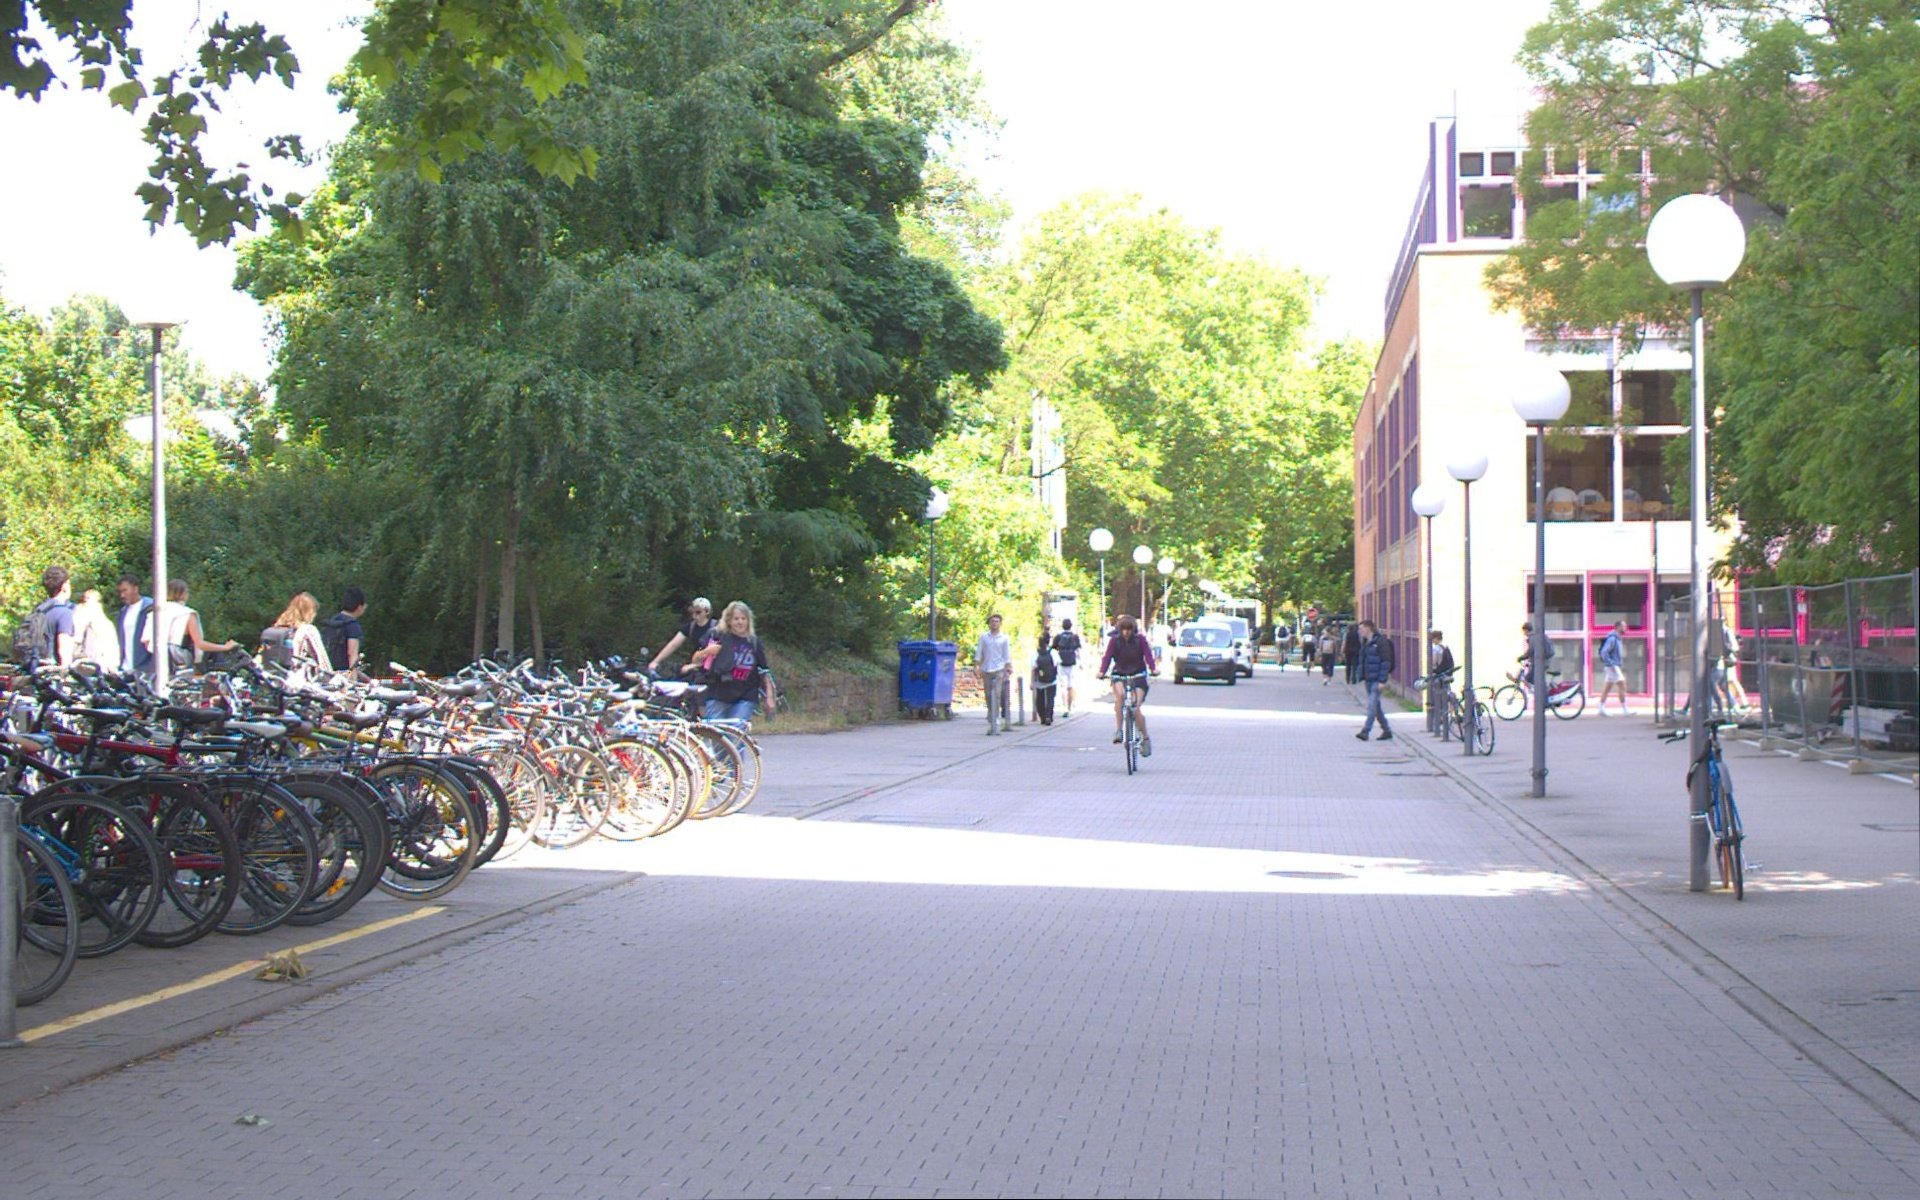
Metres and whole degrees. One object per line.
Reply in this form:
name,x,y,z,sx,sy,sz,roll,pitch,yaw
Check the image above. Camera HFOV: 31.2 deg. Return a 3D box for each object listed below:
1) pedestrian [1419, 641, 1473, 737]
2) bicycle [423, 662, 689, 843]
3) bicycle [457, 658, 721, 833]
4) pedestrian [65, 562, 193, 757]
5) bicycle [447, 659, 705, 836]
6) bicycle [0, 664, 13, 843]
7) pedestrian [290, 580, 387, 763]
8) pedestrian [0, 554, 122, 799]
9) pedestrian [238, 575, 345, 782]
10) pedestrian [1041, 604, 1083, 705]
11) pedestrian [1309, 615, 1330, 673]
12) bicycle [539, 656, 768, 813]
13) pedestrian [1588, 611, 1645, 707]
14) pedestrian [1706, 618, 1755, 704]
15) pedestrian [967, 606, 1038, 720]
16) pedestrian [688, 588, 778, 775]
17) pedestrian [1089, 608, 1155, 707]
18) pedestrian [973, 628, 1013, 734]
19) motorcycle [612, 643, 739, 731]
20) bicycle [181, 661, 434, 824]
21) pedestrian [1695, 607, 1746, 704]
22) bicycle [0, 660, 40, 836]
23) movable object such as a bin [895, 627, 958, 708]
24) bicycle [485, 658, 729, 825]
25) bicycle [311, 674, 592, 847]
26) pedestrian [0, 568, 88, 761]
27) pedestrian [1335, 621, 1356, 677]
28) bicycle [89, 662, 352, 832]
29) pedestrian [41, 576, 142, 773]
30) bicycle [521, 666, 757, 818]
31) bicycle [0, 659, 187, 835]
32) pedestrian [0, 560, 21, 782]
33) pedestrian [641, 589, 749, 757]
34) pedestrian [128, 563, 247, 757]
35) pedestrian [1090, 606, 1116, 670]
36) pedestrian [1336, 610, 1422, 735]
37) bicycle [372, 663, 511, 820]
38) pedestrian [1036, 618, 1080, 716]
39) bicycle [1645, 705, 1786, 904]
pedestrian,8.469,1.544,59.906,0.852,1.646,0.588,1,-1,13
bicycle,-2.669,1.006,22.695,1.693,1.164,0.474,1,-1,-11
bicycle,-2.586,1.001,23.946,1.777,1.164,0.474,1,-1,18
pedestrian,-7.886,0.558,32.650,0.833,1.809,0.882,1,0,17
bicycle,-2.593,0.994,23.233,1.693,1.164,0.474,1,-1,-7
bicycle,-6.590,0.922,21.218,1.697,1.080,0.473,0,-1,37
pedestrian,-5.942,0.677,32.903,0.684,1.718,0.904,1,0,3
pedestrian,-7.008,0.568,26.289,0.685,1.829,0.939,0,0,40
pedestrian,-5.669,0.662,29.181,0.684,1.718,0.731,1,0,3
pedestrian,1.884,1.011,63.418,0.682,1.838,0.783,1,-1,6
pedestrian,10.547,1.299,100.918,0.586,1.667,0.817,-1,-2,7
bicycle,-2.308,1.012,26.011,1.694,1.155,0.474,1,-1,-3
pedestrian,12.012,1.090,62.881,0.903,1.722,0.684,-1,-3,22
pedestrian,14.651,1.168,65.409,0.780,1.615,0.684,1,-1,3
pedestrian,0.695,1.030,56.592,0.783,1.839,1.118,2,0,-19
pedestrian,-2.070,0.727,31.278,0.767,1.674,0.907,0,0,-7
pedestrian,3.116,1.101,66.085,0.725,1.875,1.080,0,-2,38
pedestrian,0.592,1.442,61.510,0.682,1.866,1.121,1,-1,1
motorcycle,-3.653,1.105,43.997,0.473,1.043,2.025,2,0,-42
bicycle,-4.548,0.980,23.955,1.695,1.080,0.474,1,-1,18
pedestrian,14.632,1.063,66.155,0.826,1.838,0.684,1,-1,3
bicycle,-6.588,0.915,21.833,1.697,1.080,0.473,0,-1,37
movable object such as a bin,-0.574,1.155,59.065,0.710,1.332,1.238,3,0,15
bicycle,-2.535,1.017,24.797,1.694,1.164,0.474,1,-1,0
bicycle,-3.226,1.009,21.851,1.694,1.058,0.474,1,-1,-29
pedestrian,-8.869,0.603,32.587,0.768,1.798,0.983,1,0,14
pedestrian,11.479,1.466,102.416,0.586,1.667,0.817,-1,-2,7
bicycle,-4.931,0.967,22.914,1.695,1.080,0.473,1,-1,19
pedestrian,-7.712,0.652,30.508,0.684,1.718,0.731,0,0,-31
bicycle,-2.374,1.048,25.545,1.694,1.087,0.474,1,-1,0
bicycle,-5.747,0.935,22.327,1.698,1.080,0.473,0,-1,41
pedestrian,-7.929,0.555,26.588,0.718,1.718,1.062,0,0,38
pedestrian,-2.925,0.805,38.014,0.613,1.829,1.047,0,-1,40
pedestrian,-6.964,0.529,30.989,0.934,1.718,0.677,0,0,-23
pedestrian,4.179,1.100,100.113,0.682,1.838,0.783,1,-1,6
pedestrian,6.355,1.091,52.149,0.887,1.851,1.030,1,-1,33
bicycle,-3.755,1.008,24.998,0.507,1.080,1.699,1,-1,8
pedestrian,1.618,1.108,56.808,0.569,1.605,0.918,1,-1,-8
bicycle,4.292,1.141,19.621,0.537,1.036,1.858,0,-1,5
